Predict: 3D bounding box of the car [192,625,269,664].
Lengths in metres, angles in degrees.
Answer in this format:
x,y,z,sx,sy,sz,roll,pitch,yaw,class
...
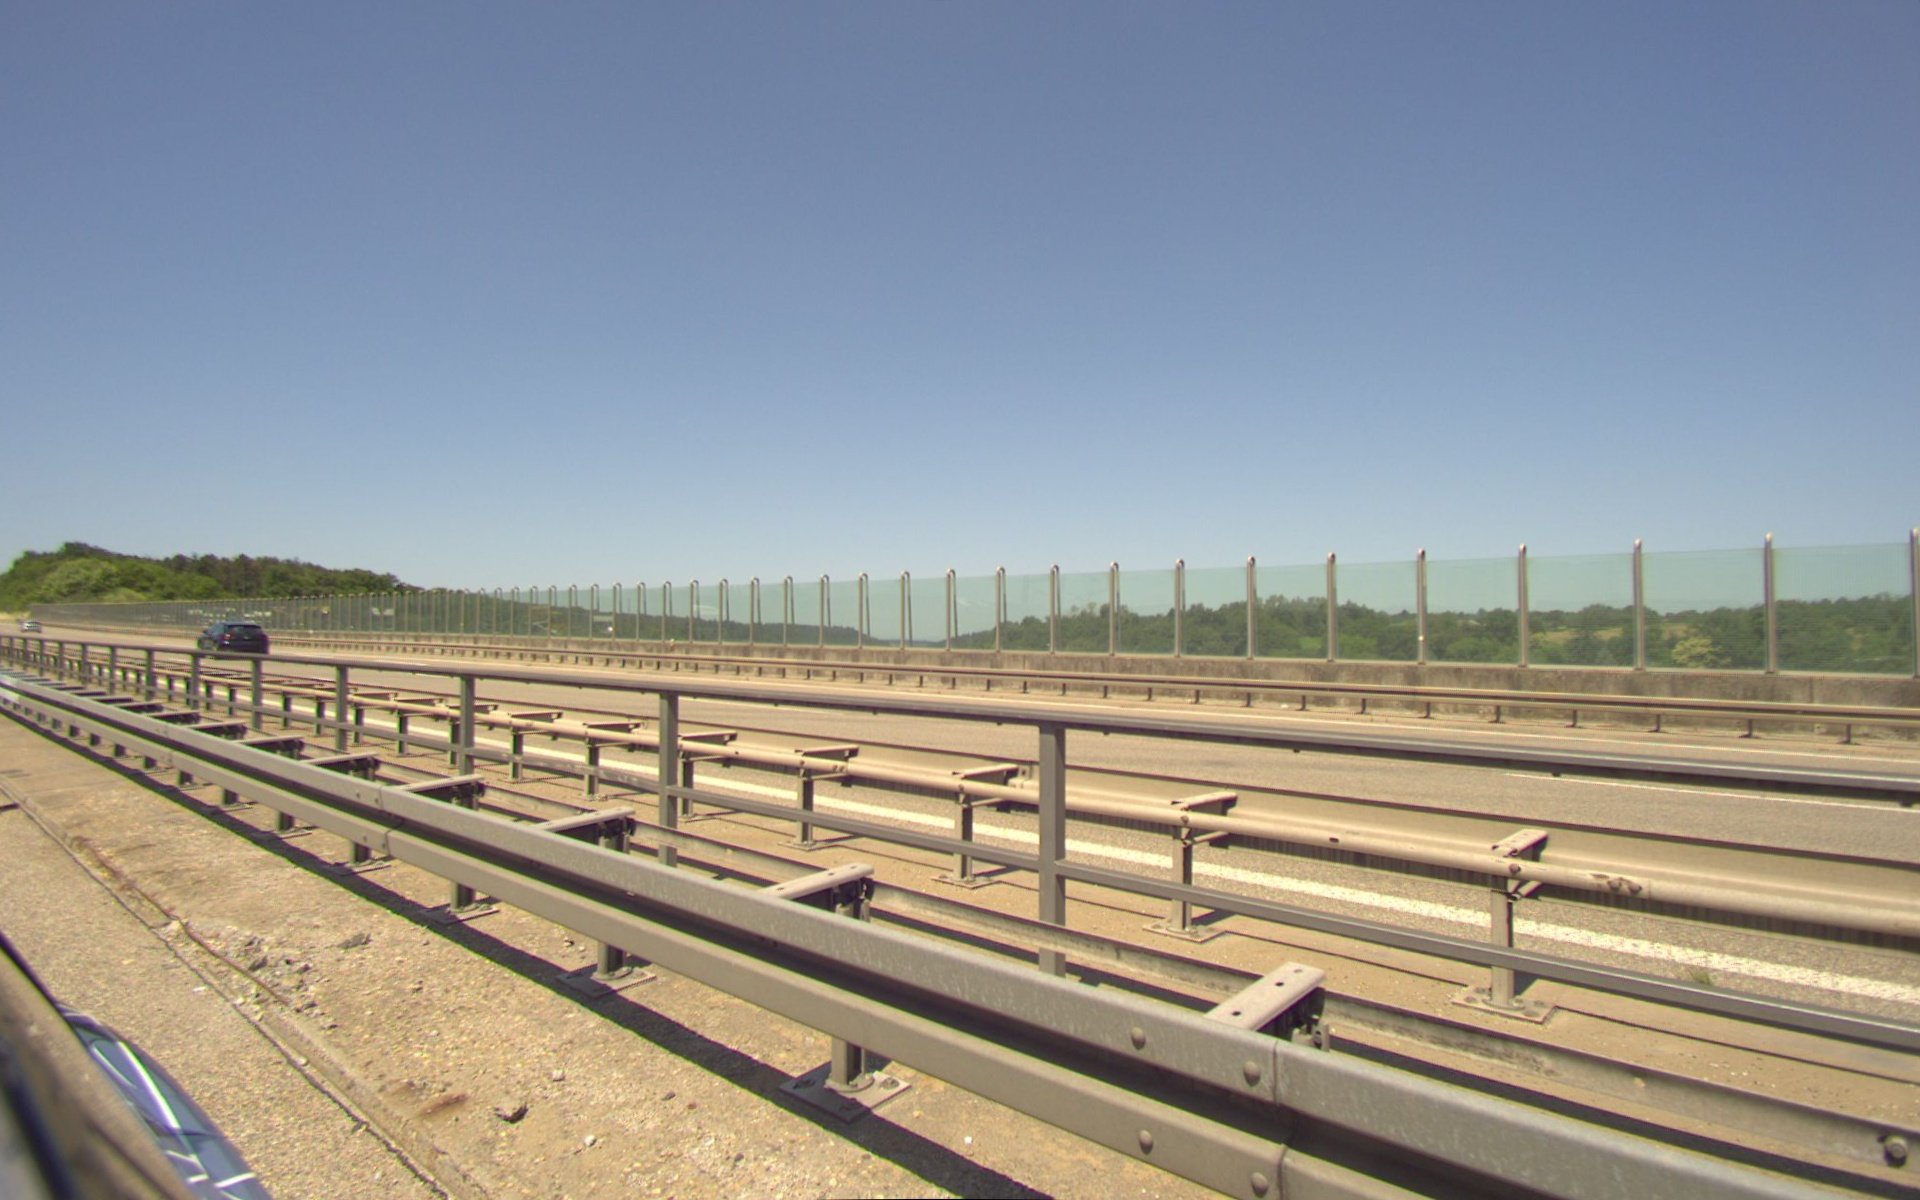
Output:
x,y,z,sx,sy,sz,roll,pitch,yaw,class
-31.873,1.935,44.188,4.385,1.581,1.761,-1,-3,42,car

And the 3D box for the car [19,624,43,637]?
x,y,z,sx,sy,sz,roll,pitch,yaw,class
-106.910,3.489,116.469,3.675,1.405,1.587,-1,-3,41,car
